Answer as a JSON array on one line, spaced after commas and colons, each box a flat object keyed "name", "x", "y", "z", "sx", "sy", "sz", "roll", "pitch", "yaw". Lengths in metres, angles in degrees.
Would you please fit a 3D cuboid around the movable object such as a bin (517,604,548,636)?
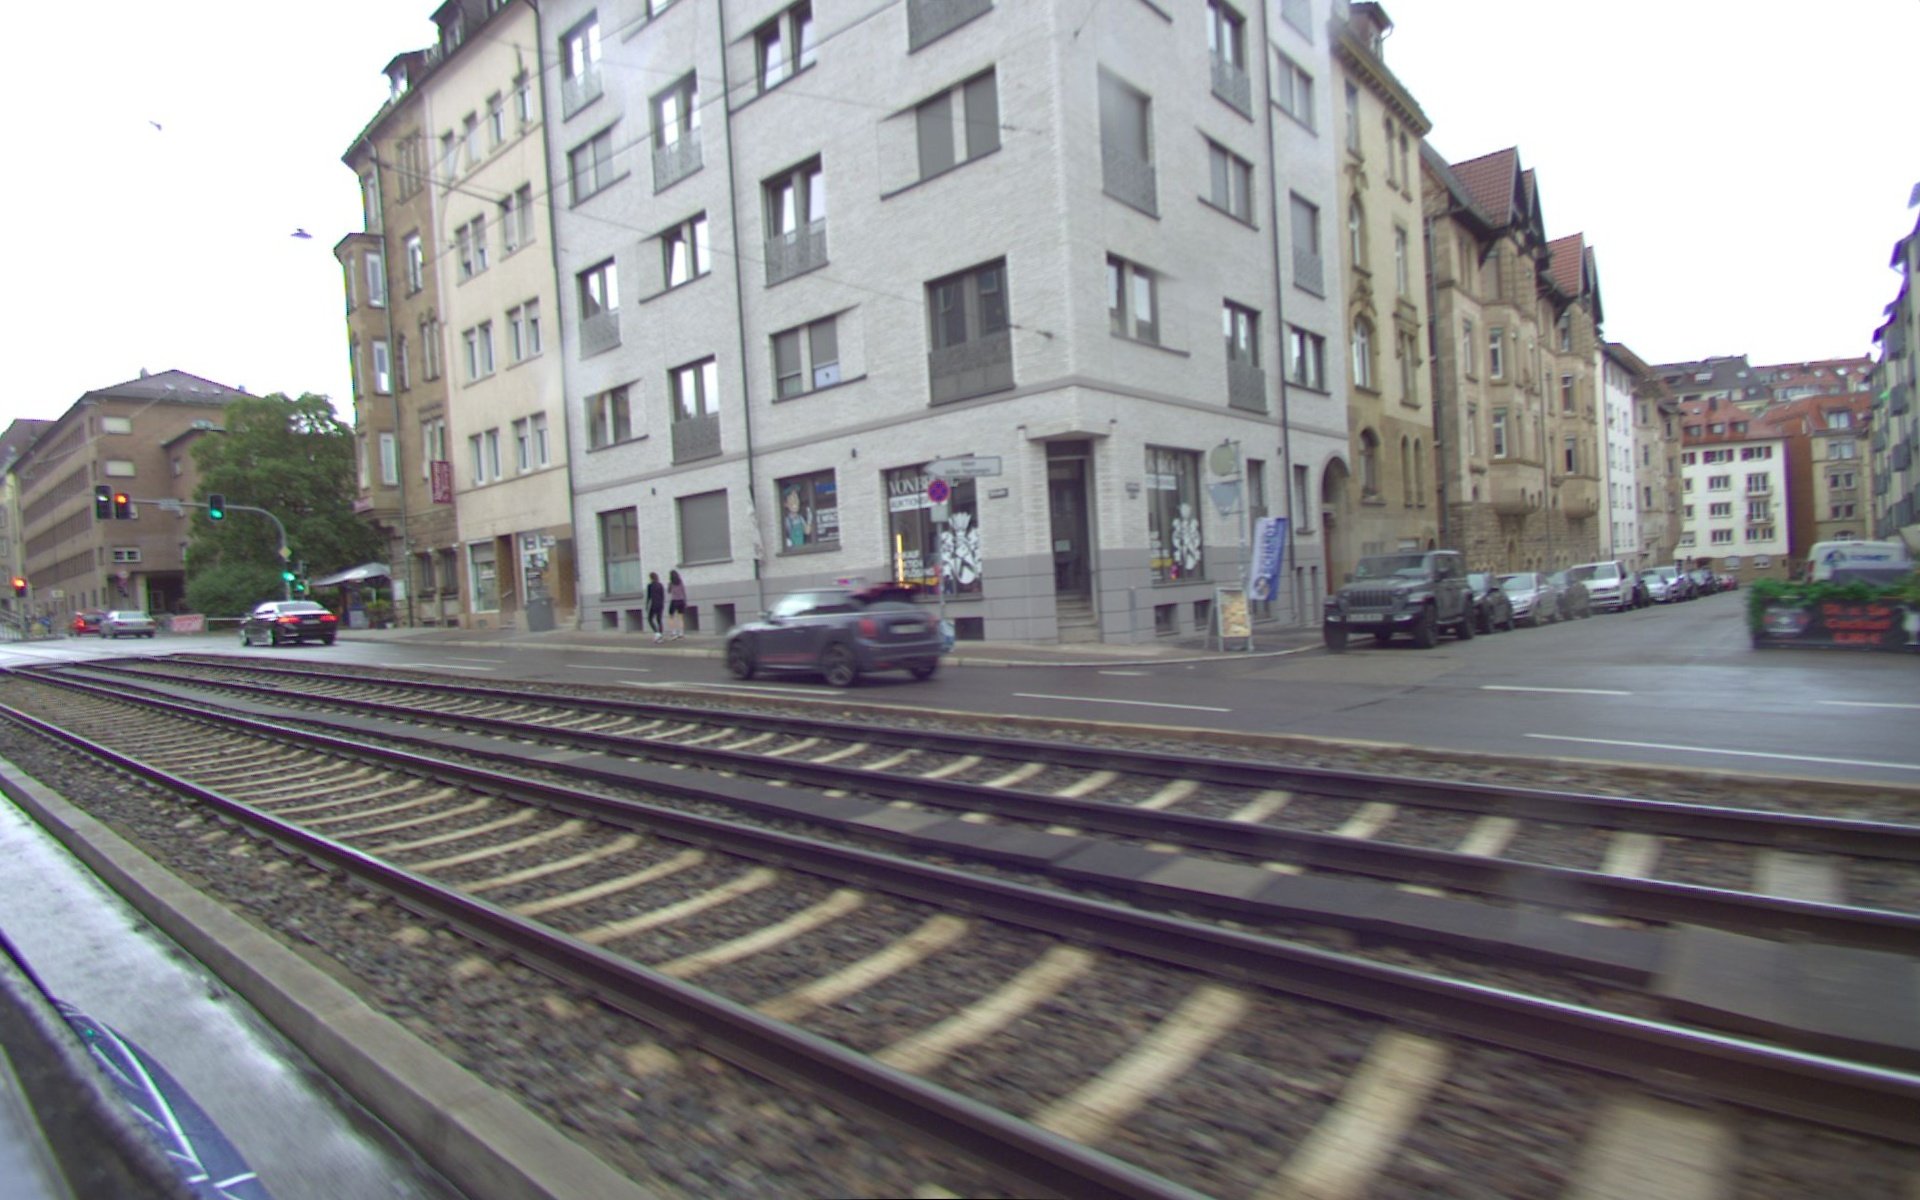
[{"name": "movable object such as a bin", "x": -13.460, "y": 0.624, "z": 31.900, "sx": 0.563, "sy": 0.933, "sz": 0.623, "roll": -2, "pitch": 5, "yaw": 40}]

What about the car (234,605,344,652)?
[{"name": "car", "x": -23.240, "y": 0.960, "z": 34.971, "sx": 4.859, "sy": 1.468, "sz": 2.065, "roll": -1, "pitch": 0, "yaw": 43}]

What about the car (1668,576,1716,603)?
[{"name": "car", "x": 41.362, "y": -0.601, "z": 57.124, "sx": 1.705, "sy": 1.401, "sz": 4.399, "roll": -1, "pitch": 0, "yaw": 42}]

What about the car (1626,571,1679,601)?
[{"name": "car", "x": 34.473, "y": -0.696, "z": 50.335, "sx": 1.704, "sy": 1.401, "sz": 4.401, "roll": -1, "pitch": 0, "yaw": 40}]

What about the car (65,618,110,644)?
[{"name": "car", "x": -53.024, "y": 1.861, "z": 61.482, "sx": 3.386, "sy": 1.461, "sz": 1.610, "roll": -1, "pitch": 1, "yaw": 41}]

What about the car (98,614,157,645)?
[{"name": "car", "x": -44.268, "y": 1.551, "z": 53.776, "sx": 4.641, "sy": 1.472, "sz": 1.695, "roll": -1, "pitch": 1, "yaw": 42}]

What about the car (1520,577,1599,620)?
[{"name": "car", "x": 18.272, "y": -0.057, "z": 30.792, "sx": 1.431, "sy": 1.233, "sz": 3.476, "roll": -1, "pitch": 0, "yaw": 41}]

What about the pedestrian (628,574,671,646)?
[{"name": "pedestrian", "x": -7.657, "y": 0.244, "z": 24.987, "sx": 0.746, "sy": 1.730, "sz": 0.595, "roll": -1, "pitch": 4, "yaw": 44}]

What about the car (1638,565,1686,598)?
[{"name": "car", "x": 37.756, "y": -0.966, "z": 54.398, "sx": 1.704, "sy": 1.669, "sz": 4.145, "roll": -1, "pitch": 0, "yaw": 40}]

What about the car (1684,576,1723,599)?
[{"name": "car", "x": 47.643, "y": -0.824, "z": 64.838, "sx": 1.704, "sy": 1.401, "sz": 4.401, "roll": -1, "pitch": 0, "yaw": 40}]

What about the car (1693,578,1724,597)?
[{"name": "car", "x": 59.201, "y": -1.010, "z": 80.020, "sx": 1.704, "sy": 1.401, "sz": 4.207, "roll": -1, "pitch": 0, "yaw": 40}]

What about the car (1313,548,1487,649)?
[{"name": "car", "x": 8.737, "y": -0.087, "z": 19.852, "sx": 2.032, "sy": 1.741, "sz": 4.648, "roll": -2, "pitch": 1, "yaw": 38}]

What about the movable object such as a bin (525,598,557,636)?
[{"name": "movable object such as a bin", "x": -13.009, "y": 0.520, "z": 31.392, "sx": 0.563, "sy": 1.088, "sz": 0.623, "roll": -2, "pitch": 5, "yaw": 40}]

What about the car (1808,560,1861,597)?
[{"name": "car", "x": 38.844, "y": -0.931, "z": 45.006, "sx": 1.663, "sy": 1.548, "sz": 3.402, "roll": -1, "pitch": -1, "yaw": 39}]

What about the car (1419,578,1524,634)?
[{"name": "car", "x": 12.078, "y": 0.121, "z": 23.824, "sx": 1.430, "sy": 1.233, "sz": 3.477, "roll": -1, "pitch": 0, "yaw": 40}]

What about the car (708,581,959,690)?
[{"name": "car", "x": -1.977, "y": 0.484, "z": 15.115, "sx": 3.782, "sy": 1.398, "sz": 1.686, "roll": -1, "pitch": 0, "yaw": 44}]

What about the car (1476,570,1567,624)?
[{"name": "car", "x": 15.195, "y": -0.083, "z": 27.323, "sx": 1.430, "sy": 1.360, "sz": 3.800, "roll": -1, "pitch": 0, "yaw": 40}]

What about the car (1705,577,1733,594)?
[{"name": "car", "x": 65.261, "y": -1.232, "z": 86.975, "sx": 1.704, "sy": 1.401, "sz": 4.401, "roll": -1, "pitch": 0, "yaw": 40}]

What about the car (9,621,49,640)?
[{"name": "car", "x": -69.412, "y": 2.268, "z": 75.453, "sx": 3.943, "sy": 1.346, "sz": 1.759, "roll": -1, "pitch": 1, "yaw": 41}]

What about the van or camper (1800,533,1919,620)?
[{"name": "van or camper", "x": 20.394, "y": -0.487, "z": 22.973, "sx": 1.941, "sy": 1.788, "sz": 3.914, "roll": -1, "pitch": -1, "yaw": 39}]

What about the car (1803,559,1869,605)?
[{"name": "car", "x": 31.709, "y": -0.625, "z": 36.706, "sx": 1.663, "sy": 1.548, "sz": 3.402, "roll": -1, "pitch": -1, "yaw": 39}]

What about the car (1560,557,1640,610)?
[{"name": "car", "x": 24.553, "y": -0.620, "z": 38.748, "sx": 1.948, "sy": 1.884, "sz": 4.734, "roll": -1, "pitch": 0, "yaw": 40}]

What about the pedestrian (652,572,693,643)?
[{"name": "pedestrian", "x": -7.228, "y": 0.189, "z": 25.436, "sx": 0.658, "sy": 1.730, "sz": 0.595, "roll": -1, "pitch": 4, "yaw": 44}]
